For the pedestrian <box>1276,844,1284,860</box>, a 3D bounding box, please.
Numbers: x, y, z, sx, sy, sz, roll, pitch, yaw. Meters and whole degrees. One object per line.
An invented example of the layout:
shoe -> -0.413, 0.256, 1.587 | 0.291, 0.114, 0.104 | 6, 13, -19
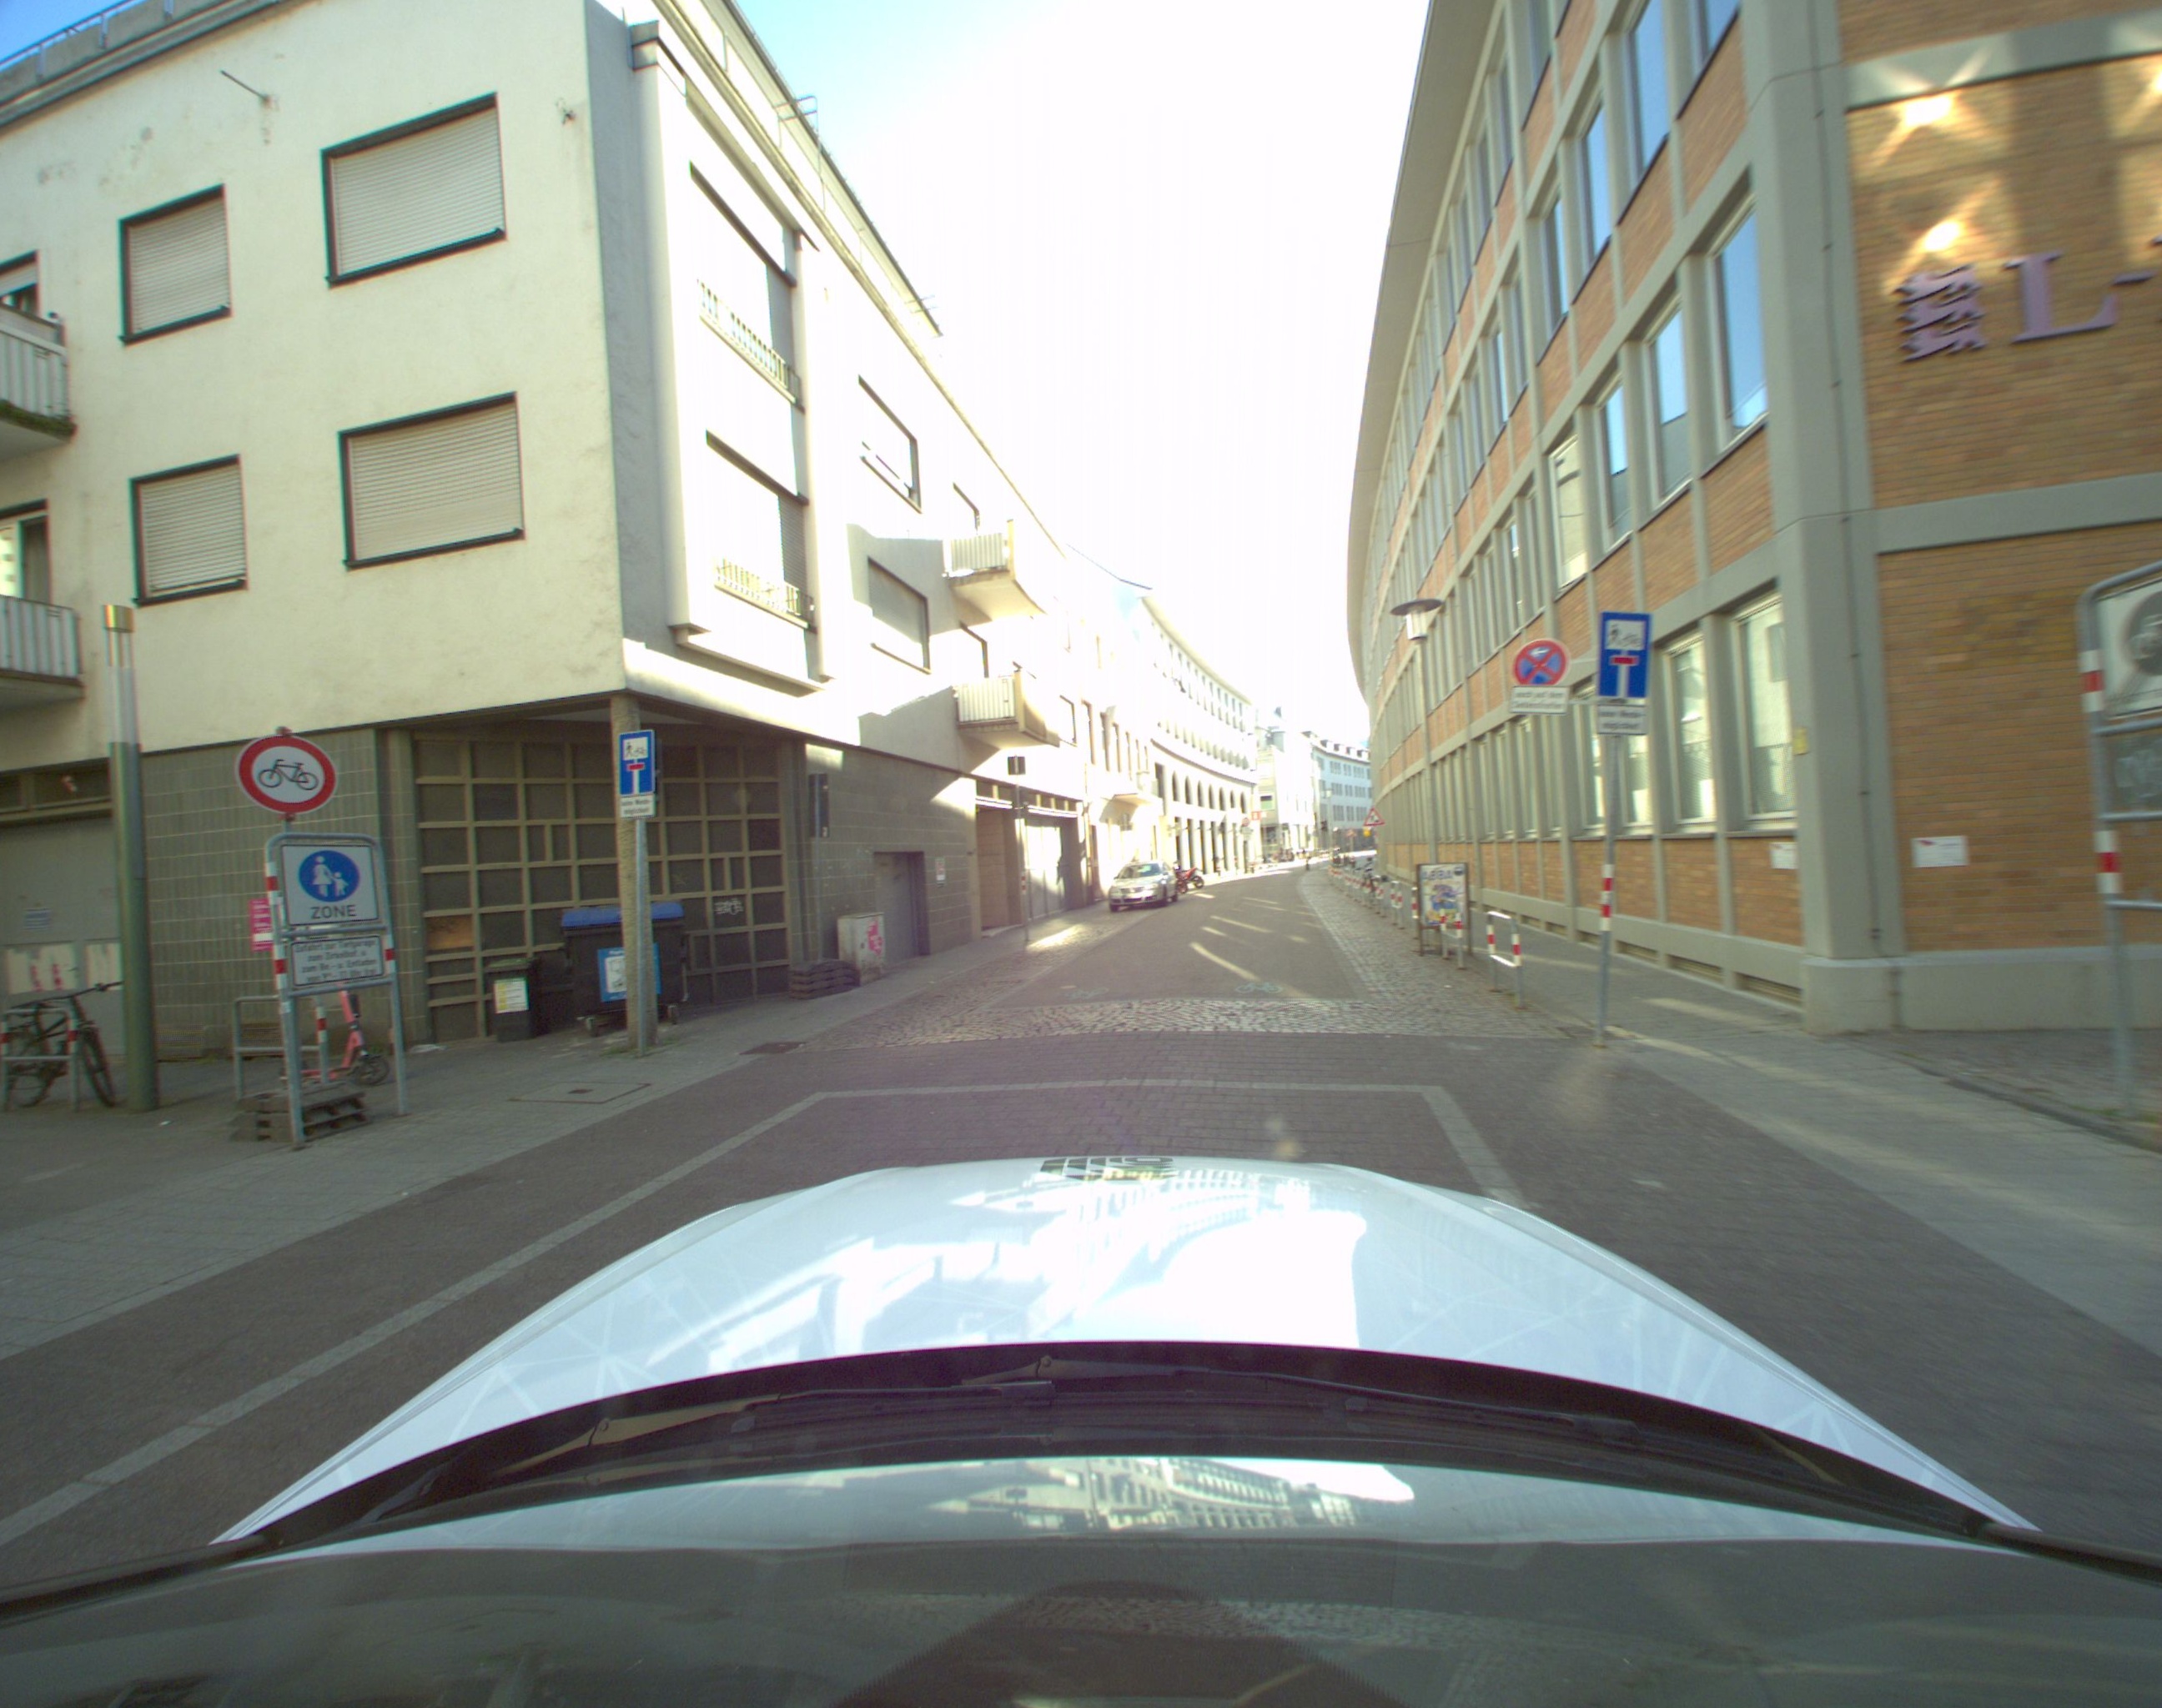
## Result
pedestrian -> 20.602, -0.201, 84.367 | 0.652, 1.528, 0.484 | -5, -1, 15

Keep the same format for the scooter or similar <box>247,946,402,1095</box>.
scooter or similar -> -7.015, 1.536, 7.555 | 1.227, 1.252, 0.309 | -5, -1, 9

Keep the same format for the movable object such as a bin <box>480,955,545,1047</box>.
movable object such as a bin -> -6.548, 1.680, 9.404 | 0.544, 0.923, 0.508 | -4, -1, -34

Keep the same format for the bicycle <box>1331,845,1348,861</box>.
bicycle -> 19.671, -0.072, 61.858 | 0.920, 1.047, 3.385 | -5, 0, 21

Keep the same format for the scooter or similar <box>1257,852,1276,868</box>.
scooter or similar -> 15.887, 0.507, 69.908 | 0.533, 1.197, 1.945 | -5, -2, -18

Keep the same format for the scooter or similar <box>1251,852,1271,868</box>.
scooter or similar -> 14.425, 0.491, 65.429 | 0.533, 1.197, 1.945 | -5, -2, -18

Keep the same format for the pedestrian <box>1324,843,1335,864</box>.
pedestrian -> 17.281, -0.053, 56.640 | 0.652, 1.441, 0.598 | -5, -1, 15

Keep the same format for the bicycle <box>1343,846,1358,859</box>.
bicycle -> 21.649, -0.136, 65.419 | 0.920, 0.960, 3.385 | -4, -1, 21

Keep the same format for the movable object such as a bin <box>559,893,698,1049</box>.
movable object such as a bin -> -5.420, 1.327, 9.762 | 1.296, 1.589, 1.144 | -4, 0, -32

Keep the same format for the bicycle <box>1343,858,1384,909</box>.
bicycle -> 6.805, 0.688, 19.699 | 0.631, 1.116, 1.937 | -5, -1, 13

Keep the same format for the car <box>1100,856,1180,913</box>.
car -> 1.949, 0.906, 25.968 | 1.752, 1.470, 3.828 | -6, -1, 14

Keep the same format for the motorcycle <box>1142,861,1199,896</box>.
motorcycle -> 3.612, 1.004, 33.111 | 2.184, 1.245, 0.578 | -6, -1, 34

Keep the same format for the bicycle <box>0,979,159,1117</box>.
bicycle -> -9.474, 1.819, 7.618 | 1.690, 1.139, 0.450 | -6, -2, 18

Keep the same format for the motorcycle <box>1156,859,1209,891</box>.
motorcycle -> 4.605, 0.949, 36.968 | 2.260, 1.245, 0.578 | -6, -1, 34
